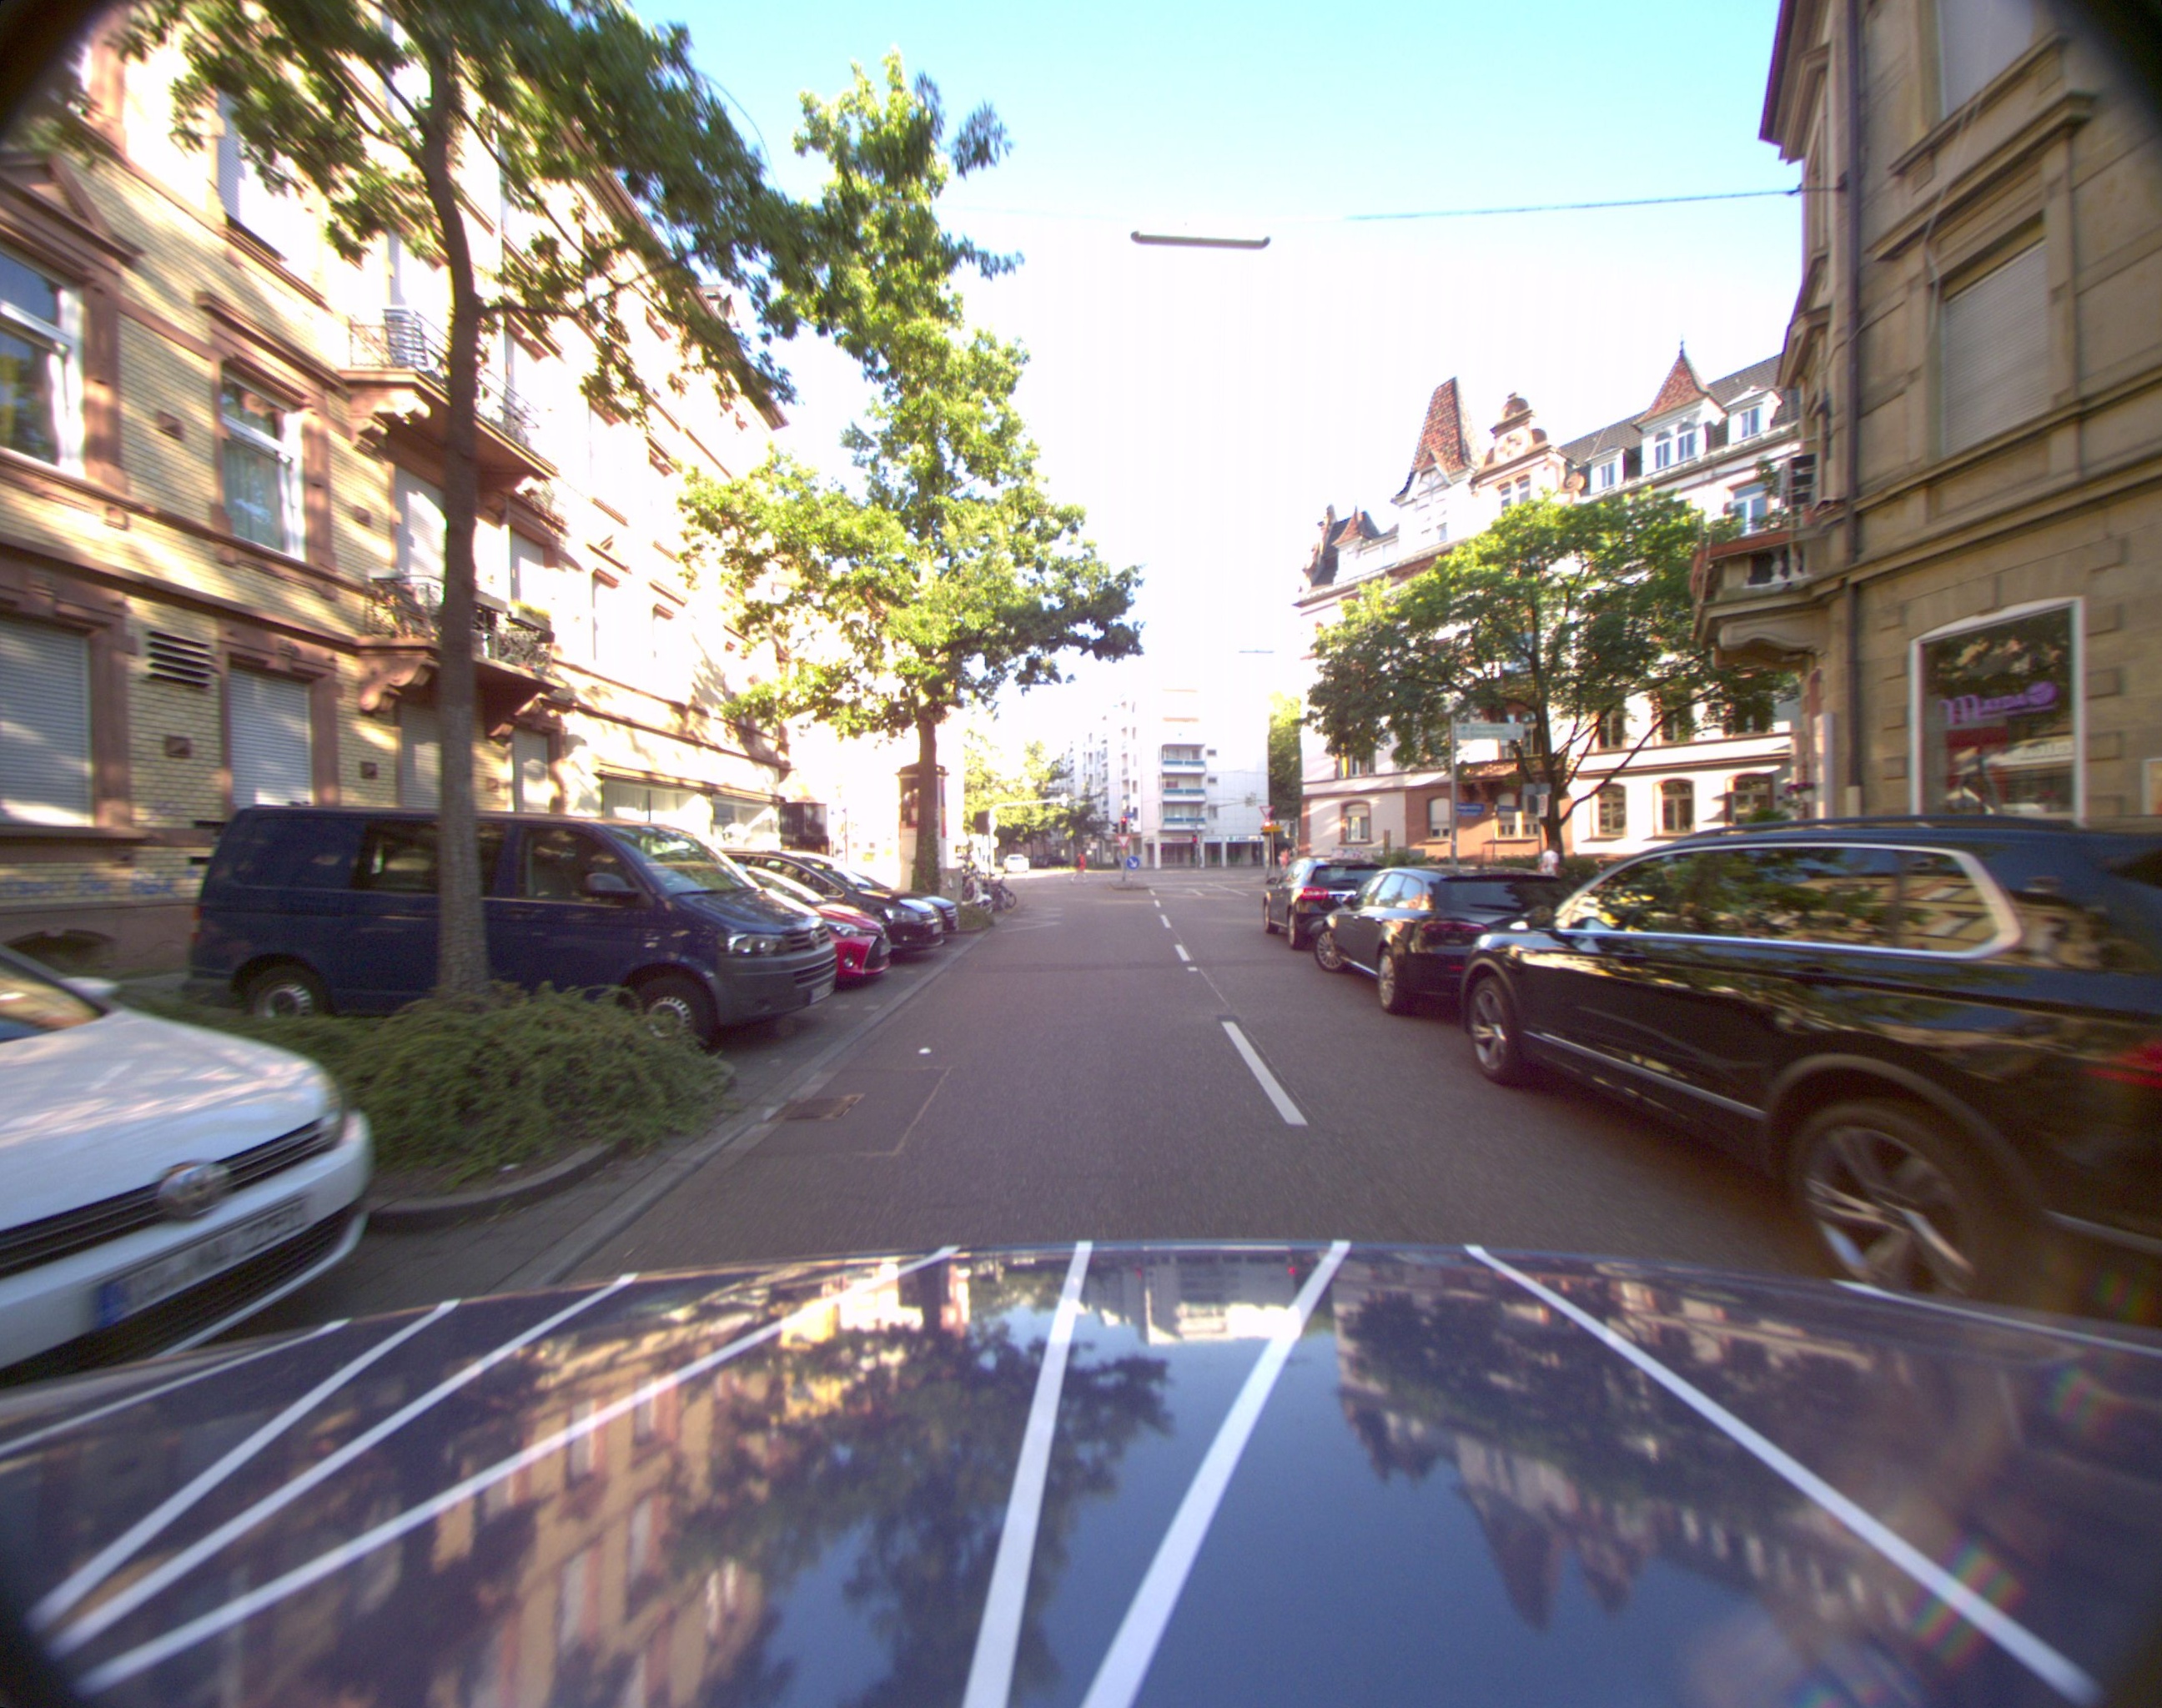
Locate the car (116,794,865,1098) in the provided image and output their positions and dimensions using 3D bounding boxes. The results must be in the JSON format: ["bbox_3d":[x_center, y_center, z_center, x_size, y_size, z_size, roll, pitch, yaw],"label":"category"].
[{"bbox_3d":[-4.752,0.700,6.737,5.033,2.202,1.992,-1,1,1],"label":"car"}]

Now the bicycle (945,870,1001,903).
[{"bbox_3d":[-3.695,1.087,26.168,1.940,1.087,0.424,1,1,-39],"label":"bicycle"}]

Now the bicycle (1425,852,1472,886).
[{"bbox_3d":[13.745,0.533,28.494,0.547,1.189,2.959,-1,0,4],"label":"bicycle"}]

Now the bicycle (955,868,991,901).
[{"bbox_3d":[-3.821,1.059,26.959,0.424,1.087,1.480,2,1,30],"label":"bicycle"}]

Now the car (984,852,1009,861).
[{"bbox_3d":[-15.946,0.552,143.442,4.308,1.576,1.997,-1,1,-18],"label":"car"}]

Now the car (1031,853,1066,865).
[{"bbox_3d":[-4.473,0.686,103.576,4.308,1.576,1.996,-1,1,-20],"label":"car"}]

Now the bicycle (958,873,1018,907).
[{"bbox_3d":[-3.000,1.136,24.632,1.940,1.046,0.501,1,1,-37],"label":"bicycle"}]

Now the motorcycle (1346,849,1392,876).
[{"bbox_3d":[14.055,0.421,37.113,2.113,1.258,0.841,-1,1,-25],"label":"motorcycle"}]

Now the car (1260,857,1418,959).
[{"bbox_3d":[4.347,0.822,13.469,1.762,1.479,4.140,0,0,6],"label":"car"}]

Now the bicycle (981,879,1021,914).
[{"bbox_3d":[-2.302,1.224,21.978,0.353,0.922,1.416,2,1,30],"label":"bicycle"}]

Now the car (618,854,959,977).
[{"bbox_3d":[-4.466,0.858,11.918,4.695,1.669,1.852,0,1,9],"label":"car"}]

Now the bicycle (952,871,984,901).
[{"bbox_3d":[-4.142,1.159,27.791,1.000,1.021,0.737,-2,1,-21],"label":"bicycle"}]

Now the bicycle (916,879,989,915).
[{"bbox_3d":[-3.557,1.183,21.043,1.935,0.922,0.354,1,1,-1],"label":"bicycle"}]

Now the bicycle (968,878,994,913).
[{"bbox_3d":[-2.921,1.201,22.299,0.354,0.922,1.526,2,1,8],"label":"bicycle"}]

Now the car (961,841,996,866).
[{"bbox_3d":[-14.076,-0.098,103.667,3.328,3.160,8.071,-1,0,-17],"label":"car"}]

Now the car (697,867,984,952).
[{"bbox_3d":[-4.383,0.994,14.330,4.796,1.405,1.851,0,1,3],"label":"car"}]

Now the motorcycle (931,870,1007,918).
[{"bbox_3d":[-2.988,1.066,20.415,1.902,1.227,0.686,1,1,1],"label":"motorcycle"}]

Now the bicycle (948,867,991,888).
[{"bbox_3d":[-5.423,1.153,36.972,1.881,0.907,0.633,-3,0,-29],"label":"bicycle"}]

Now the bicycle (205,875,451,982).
[{"bbox_3d":[-10.027,0.921,10.329,0.672,1.164,2.593,1,0,3],"label":"bicycle"}]

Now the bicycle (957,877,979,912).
[{"bbox_3d":[-3.315,1.169,22.427,0.354,0.922,1.525,2,1,2],"label":"bicycle"}]

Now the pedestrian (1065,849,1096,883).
[{"bbox_3d":[-0.024,0.583,37.663,1.175,1.670,1.005,-2,1,-29],"label":"pedestrian"}]

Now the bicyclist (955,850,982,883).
[{"bbox_3d":[-5.479,0.590,36.954,1.082,1.544,0.633,-3,0,-29],"label":"bicyclist"}]

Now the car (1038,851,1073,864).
[{"bbox_3d":[-3.324,0.481,98.676,4.003,1.576,1.996,-1,1,-20],"label":"car"}]

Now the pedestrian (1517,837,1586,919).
[{"bbox_3d":[11.258,0.557,18.208,1.118,1.887,0.842,-1,1,-9],"label":"pedestrian"}]

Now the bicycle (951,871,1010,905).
[{"bbox_3d":[-3.302,1.105,25.014,1.940,1.087,0.424,1,1,-37],"label":"bicycle"}]

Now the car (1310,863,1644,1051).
[{"bbox_3d":[3.921,0.871,8.525,1.762,1.443,4.552,0,0,6],"label":"car"}]

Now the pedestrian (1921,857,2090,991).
[{"bbox_3d":[8.942,0.647,7.381,0.727,1.207,0.756,-1,1,-2],"label":"pedestrian"}]

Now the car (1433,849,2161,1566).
[{"bbox_3d":[3.427,0.784,3.556,1.762,1.590,4.552,0,0,5],"label":"car"}]

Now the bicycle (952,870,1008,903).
[{"bbox_3d":[-3.416,1.093,25.801,1.940,1.087,0.424,1,1,-39],"label":"bicycle"}]

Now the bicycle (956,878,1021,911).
[{"bbox_3d":[-2.890,1.266,23.702,1.939,0.982,0.495,1,1,-22],"label":"bicycle"}]

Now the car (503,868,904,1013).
[{"bbox_3d":[-4.503,1.007,9.508,4.116,1.526,1.724,-1,1,1],"label":"car"}]

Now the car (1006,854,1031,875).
[{"bbox_3d":[-5.598,0.889,67.878,2.000,1.740,3.997,-1,0,-8],"label":"car"}]

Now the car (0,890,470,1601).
[{"bbox_3d":[-4.442,0.894,2.048,4.064,1.501,1.878,1,1,0],"label":"car"}]

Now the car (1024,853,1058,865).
[{"bbox_3d":[-5.527,0.640,105.774,4.308,1.576,1.996,-1,1,-20],"label":"car"}]

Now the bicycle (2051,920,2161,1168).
[{"bbox_3d":[6.064,0.890,3.713,1.871,1.122,0.528,-2,1,3],"label":"bicycle"}]

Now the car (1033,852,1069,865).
[{"bbox_3d":[-3.965,0.579,101.036,4.308,1.576,1.996,-1,1,-20],"label":"car"}]

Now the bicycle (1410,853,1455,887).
[{"bbox_3d":[13.152,0.563,28.534,0.547,1.189,2.959,-1,0,4],"label":"bicycle"}]

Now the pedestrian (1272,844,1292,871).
[{"bbox_3d":[12.868,0.236,48.682,0.867,1.688,0.986,0,1,45],"label":"pedestrian"}]

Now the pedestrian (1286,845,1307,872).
[{"bbox_3d":[13.613,0.274,47.992,0.986,1.688,0.867,-2,1,-42],"label":"pedestrian"}]
